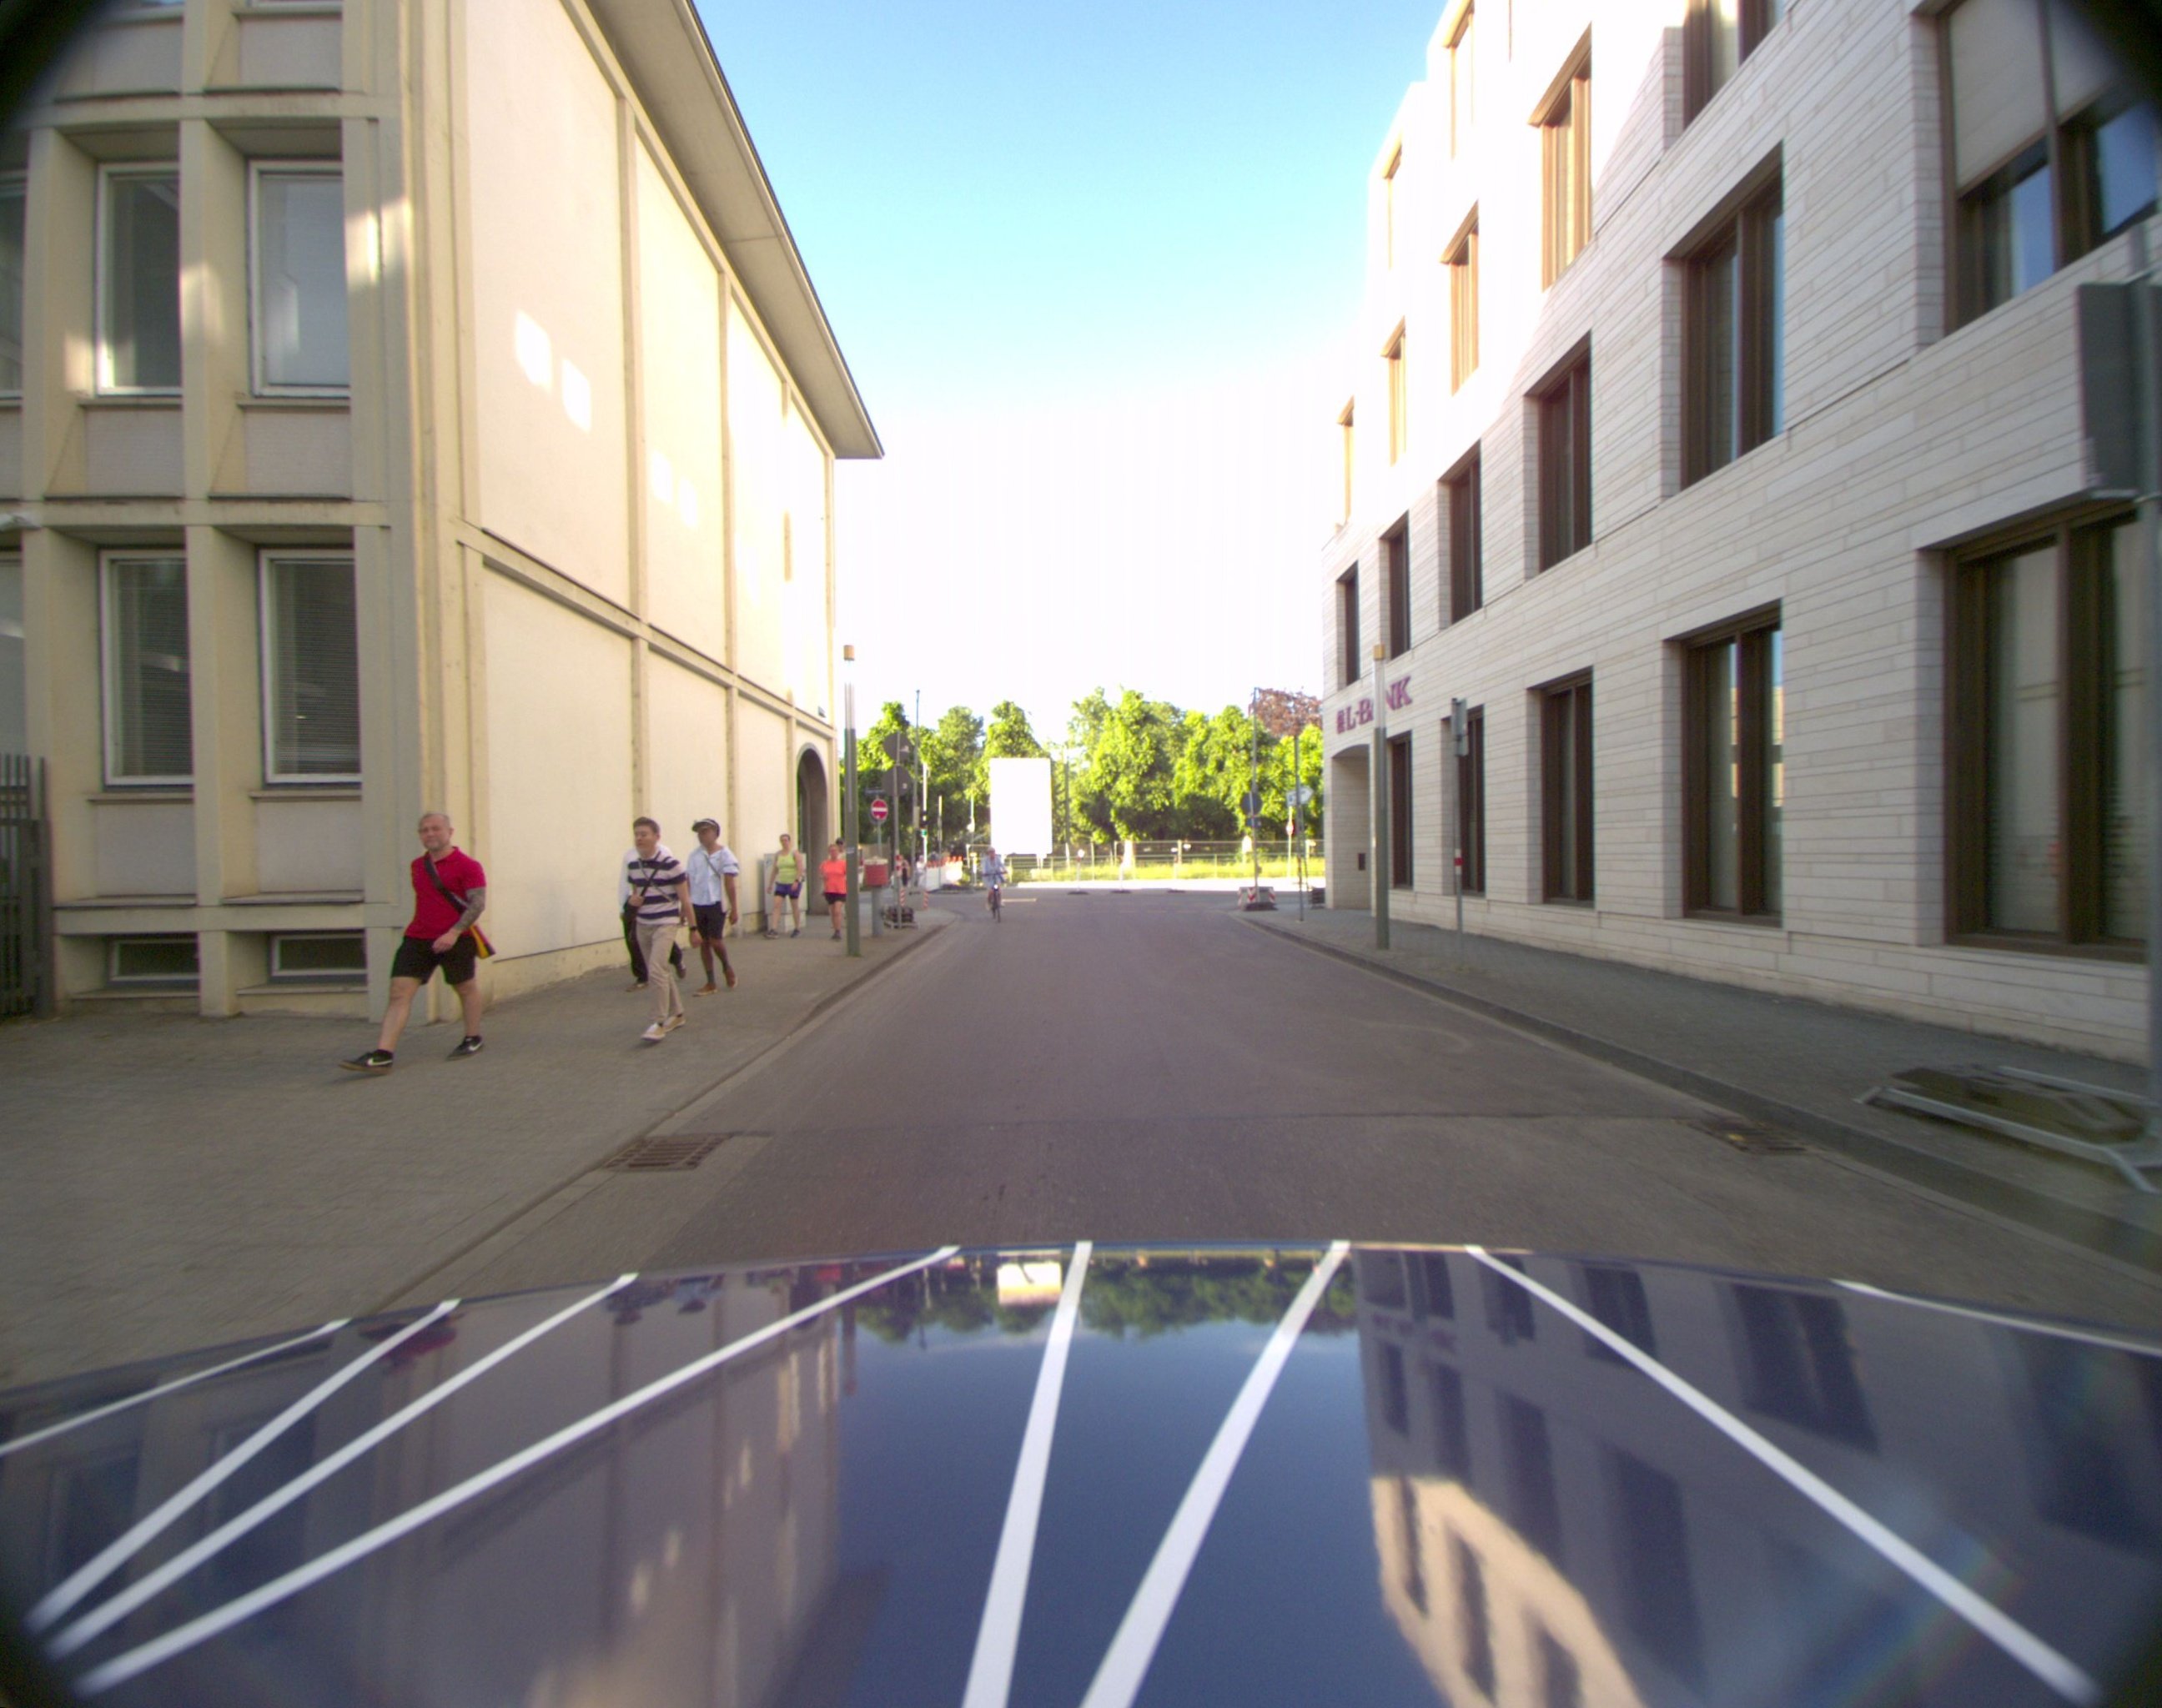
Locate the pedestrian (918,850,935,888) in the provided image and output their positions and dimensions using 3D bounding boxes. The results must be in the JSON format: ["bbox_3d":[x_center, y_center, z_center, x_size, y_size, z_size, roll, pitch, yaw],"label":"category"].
[{"bbox_3d":[-6.675,0.654,32.776,0.626,1.604,0.622,-2,2,-7],"label":"pedestrian"}]

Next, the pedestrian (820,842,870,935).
[{"bbox_3d":[-4.470,0.635,14.428,0.685,1.705,0.693,2,1,0],"label":"pedestrian"}]

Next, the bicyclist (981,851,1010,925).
[{"bbox_3d":[-1.991,0.775,17.770,0.586,1.679,0.538,-2,2,-4],"label":"bicyclist"}]

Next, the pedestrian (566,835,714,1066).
[{"bbox_3d":[-3.631,0.760,6.310,0.685,1.768,0.693,5,1,0],"label":"pedestrian"}]

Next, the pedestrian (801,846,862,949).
[{"bbox_3d":[-4.130,0.708,12.622,0.685,1.627,0.693,4,1,0],"label":"pedestrian"}]

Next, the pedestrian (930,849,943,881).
[{"bbox_3d":[-8.008,0.593,42.204,0.626,1.773,0.622,-2,2,-7],"label":"pedestrian"}]

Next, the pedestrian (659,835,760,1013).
[{"bbox_3d":[-3.860,0.697,7.946,0.685,1.768,0.693,1,1,0],"label":"pedestrian"}]

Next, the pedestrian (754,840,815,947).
[{"bbox_3d":[-4.901,0.639,12.607,0.685,1.705,0.693,2,1,0],"label":"pedestrian"}]

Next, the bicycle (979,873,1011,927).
[{"bbox_3d":[-1.973,1.026,17.651,0.595,1.077,2.309,-2,1,-3],"label":"bicycle"}]

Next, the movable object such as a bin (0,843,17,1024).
[{"bbox_3d":[-9.044,0.653,5.385,0.969,1.428,1.382,-1,1,-1],"label":"movable object such as a bin"}]

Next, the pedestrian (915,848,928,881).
[{"bbox_3d":[-8.820,0.569,42.056,0.626,1.773,0.622,-2,2,-7],"label":"pedestrian"}]

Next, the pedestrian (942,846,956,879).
[{"bbox_3d":[-7.294,0.450,42.009,0.626,1.773,0.622,-2,2,-7],"label":"pedestrian"}]

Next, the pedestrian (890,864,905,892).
[{"bbox_3d":[-7.858,1.020,32.602,0.535,1.170,0.622,-2,2,-7],"label":"pedestrian"}]

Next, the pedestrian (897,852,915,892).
[{"bbox_3d":[-7.363,0.744,31.997,0.626,1.632,0.622,-2,2,-7],"label":"pedestrian"}]

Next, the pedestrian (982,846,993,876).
[{"bbox_3d":[-5.650,0.405,45.846,0.626,1.773,0.622,-2,2,-7],"label":"pedestrian"}]

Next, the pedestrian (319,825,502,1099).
[{"bbox_3d":[-4.634,0.711,5.292,0.685,1.768,0.593,3,1,0],"label":"pedestrian"}]

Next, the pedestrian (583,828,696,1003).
[{"bbox_3d":[-4.740,0.636,8.199,0.685,1.768,0.693,5,1,0],"label":"pedestrian"}]
